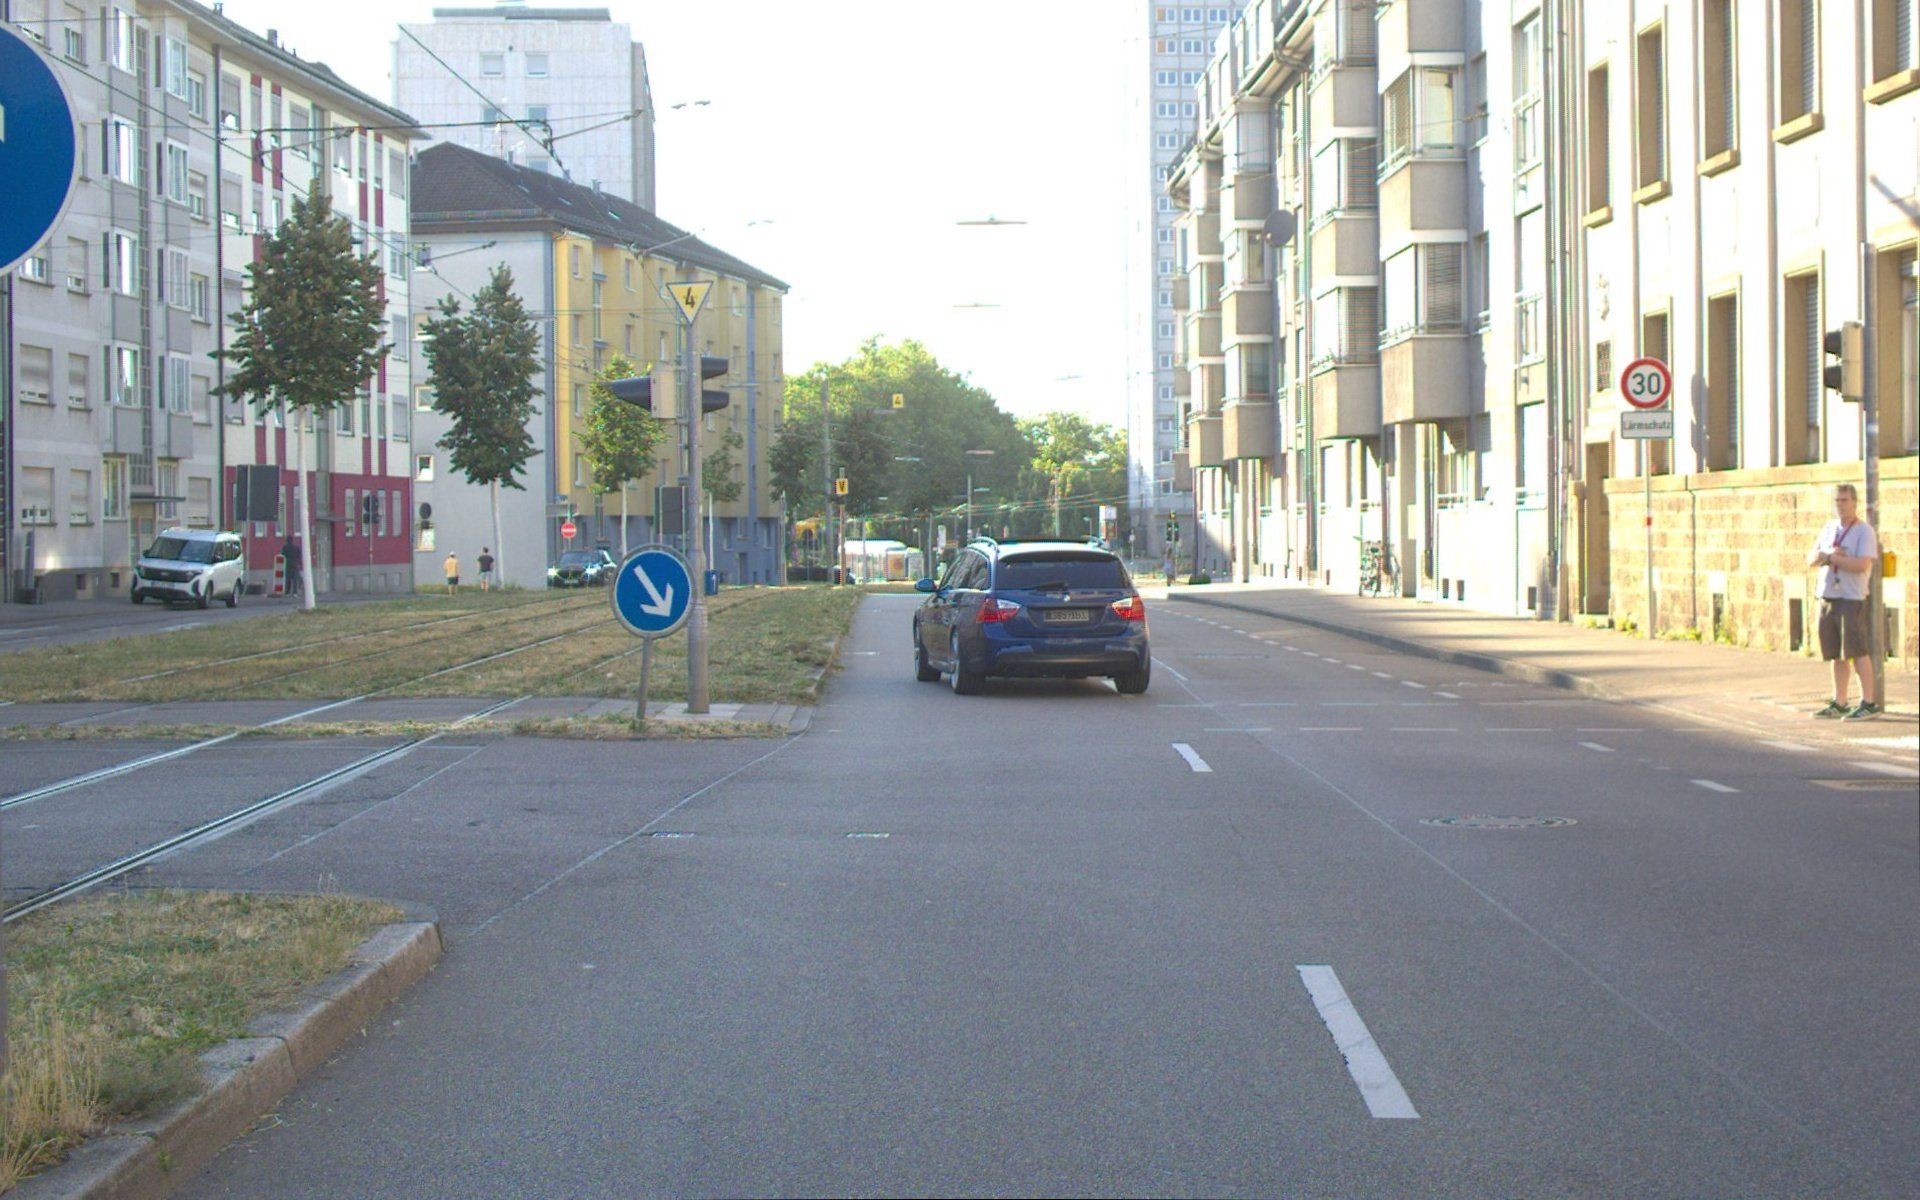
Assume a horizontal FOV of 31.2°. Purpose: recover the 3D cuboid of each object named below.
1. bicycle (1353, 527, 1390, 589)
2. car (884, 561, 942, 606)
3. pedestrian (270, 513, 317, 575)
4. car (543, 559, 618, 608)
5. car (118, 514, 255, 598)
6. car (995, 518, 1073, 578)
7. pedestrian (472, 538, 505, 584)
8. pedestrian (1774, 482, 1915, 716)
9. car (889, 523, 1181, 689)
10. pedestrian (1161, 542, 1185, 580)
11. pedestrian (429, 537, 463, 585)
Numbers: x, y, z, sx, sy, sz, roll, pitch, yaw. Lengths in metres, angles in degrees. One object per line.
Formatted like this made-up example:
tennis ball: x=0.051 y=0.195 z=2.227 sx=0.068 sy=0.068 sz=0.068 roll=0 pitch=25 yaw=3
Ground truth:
bicycle: x=7.417 y=-0.756 z=61.995 sx=0.383 sy=1.092 sz=1.504 roll=-1 pitch=1 yaw=-3
car: x=-1.677 y=-0.586 z=121.459 sx=1.993 sy=1.549 sz=4.394 roll=1 pitch=1 yaw=-1
pedestrian: x=-19.080 y=-1.608 z=98.424 sx=1.269 sy=1.755 sz=1.274 roll=1 pitch=0 yaw=-10
car: x=-13.475 y=-0.608 z=122.176 sx=1.897 sy=1.628 sz=4.747 roll=-1 pitch=1 yaw=3
car: x=-18.304 y=-1.036 z=81.558 sx=1.994 sy=1.918 sz=4.541 roll=1 pitch=1 yaw=3
car: x=1.986 y=-1.401 z=93.668 sx=1.993 sy=1.558 sz=4.000 roll=1 pitch=1 yaw=0
pedestrian: x=-17.106 y=-1.412 z=124.696 sx=0.962 sy=1.664 sz=1.011 roll=1 pitch=0 yaw=5
pedestrian: x=6.779 y=-0.010 z=26.376 sx=0.835 sy=1.756 sz=0.824 roll=1 pitch=0 yaw=-1
car: x=0.629 y=0.030 z=32.688 sx=1.926 sy=1.451 sz=4.329 roll=1 pitch=1 yaw=-10
pedestrian: x=6.938 y=-1.272 z=111.942 sx=0.691 sy=1.230 sz=0.736 roll=1 pitch=0 yaw=-1
pedestrian: x=-18.497 y=-1.397 z=123.766 sx=0.962 sy=1.688 sz=1.011 roll=1 pitch=0 yaw=5
